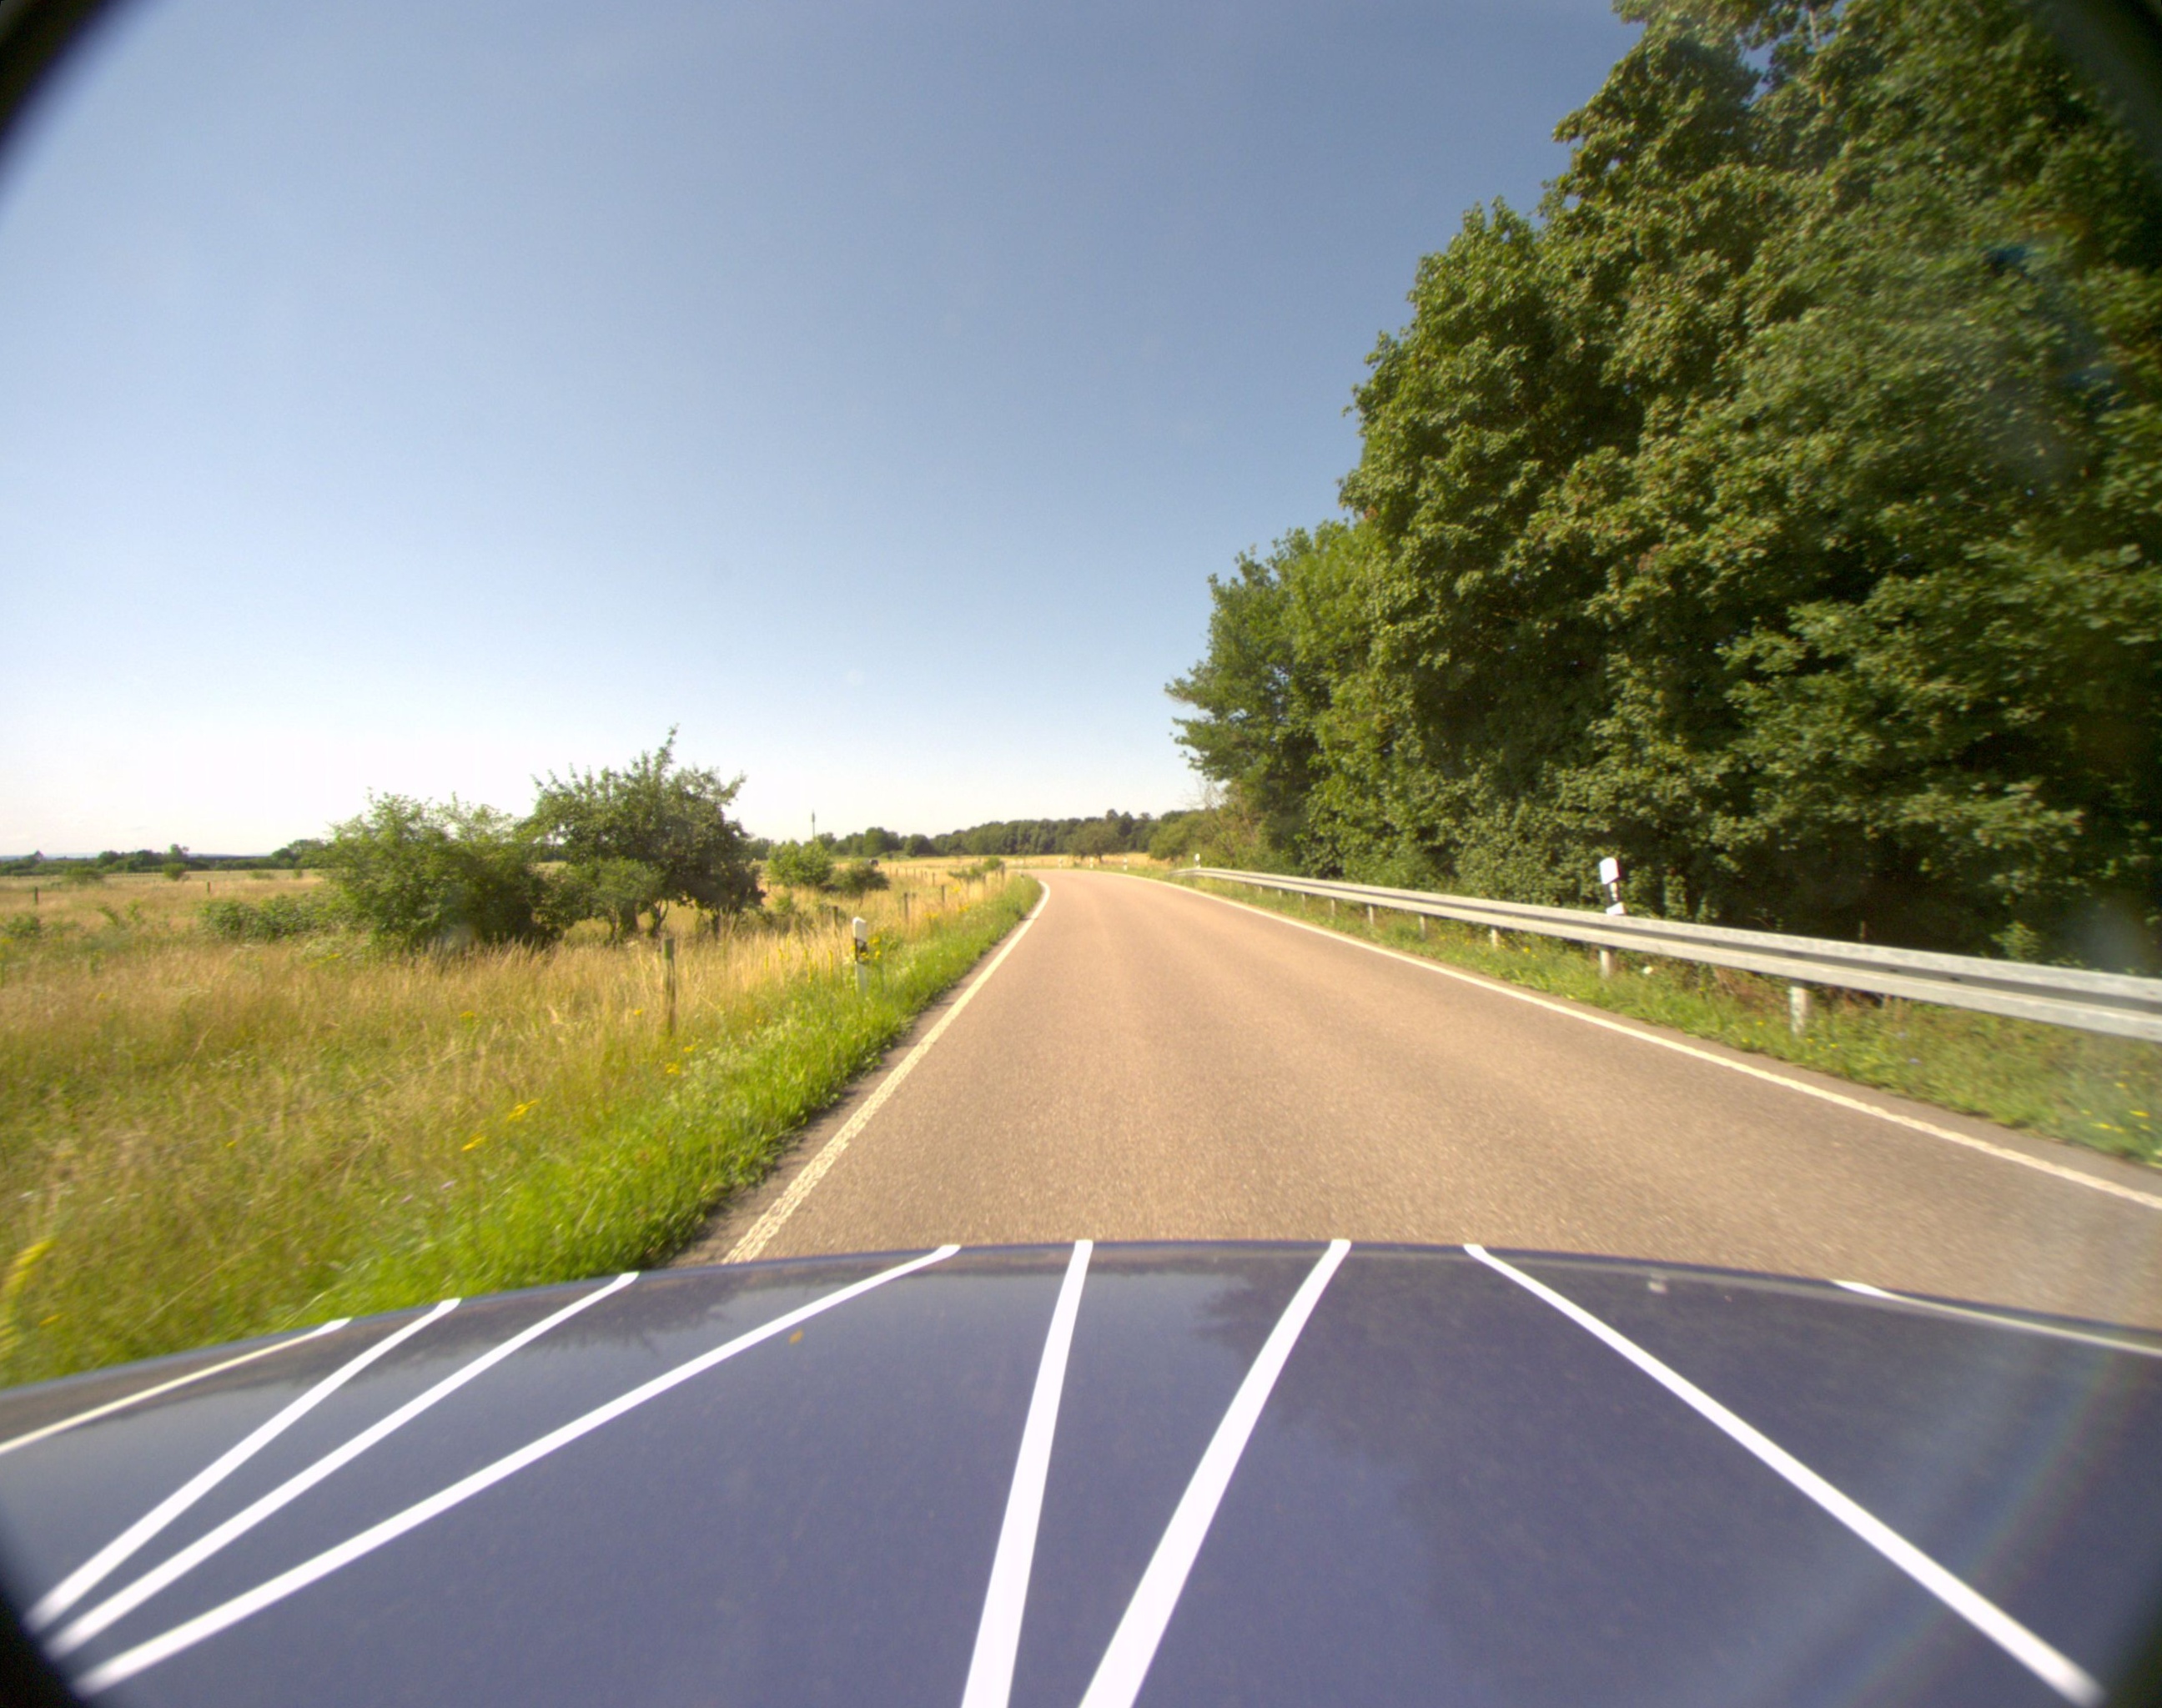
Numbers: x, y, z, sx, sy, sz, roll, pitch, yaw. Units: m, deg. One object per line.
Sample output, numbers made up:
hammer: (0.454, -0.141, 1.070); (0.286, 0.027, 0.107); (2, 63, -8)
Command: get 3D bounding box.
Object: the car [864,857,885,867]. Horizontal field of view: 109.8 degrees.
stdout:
car: (-34.783, 1.377, 127.742); (1.793, 1.622, 4.150); (0, -2, -40)
